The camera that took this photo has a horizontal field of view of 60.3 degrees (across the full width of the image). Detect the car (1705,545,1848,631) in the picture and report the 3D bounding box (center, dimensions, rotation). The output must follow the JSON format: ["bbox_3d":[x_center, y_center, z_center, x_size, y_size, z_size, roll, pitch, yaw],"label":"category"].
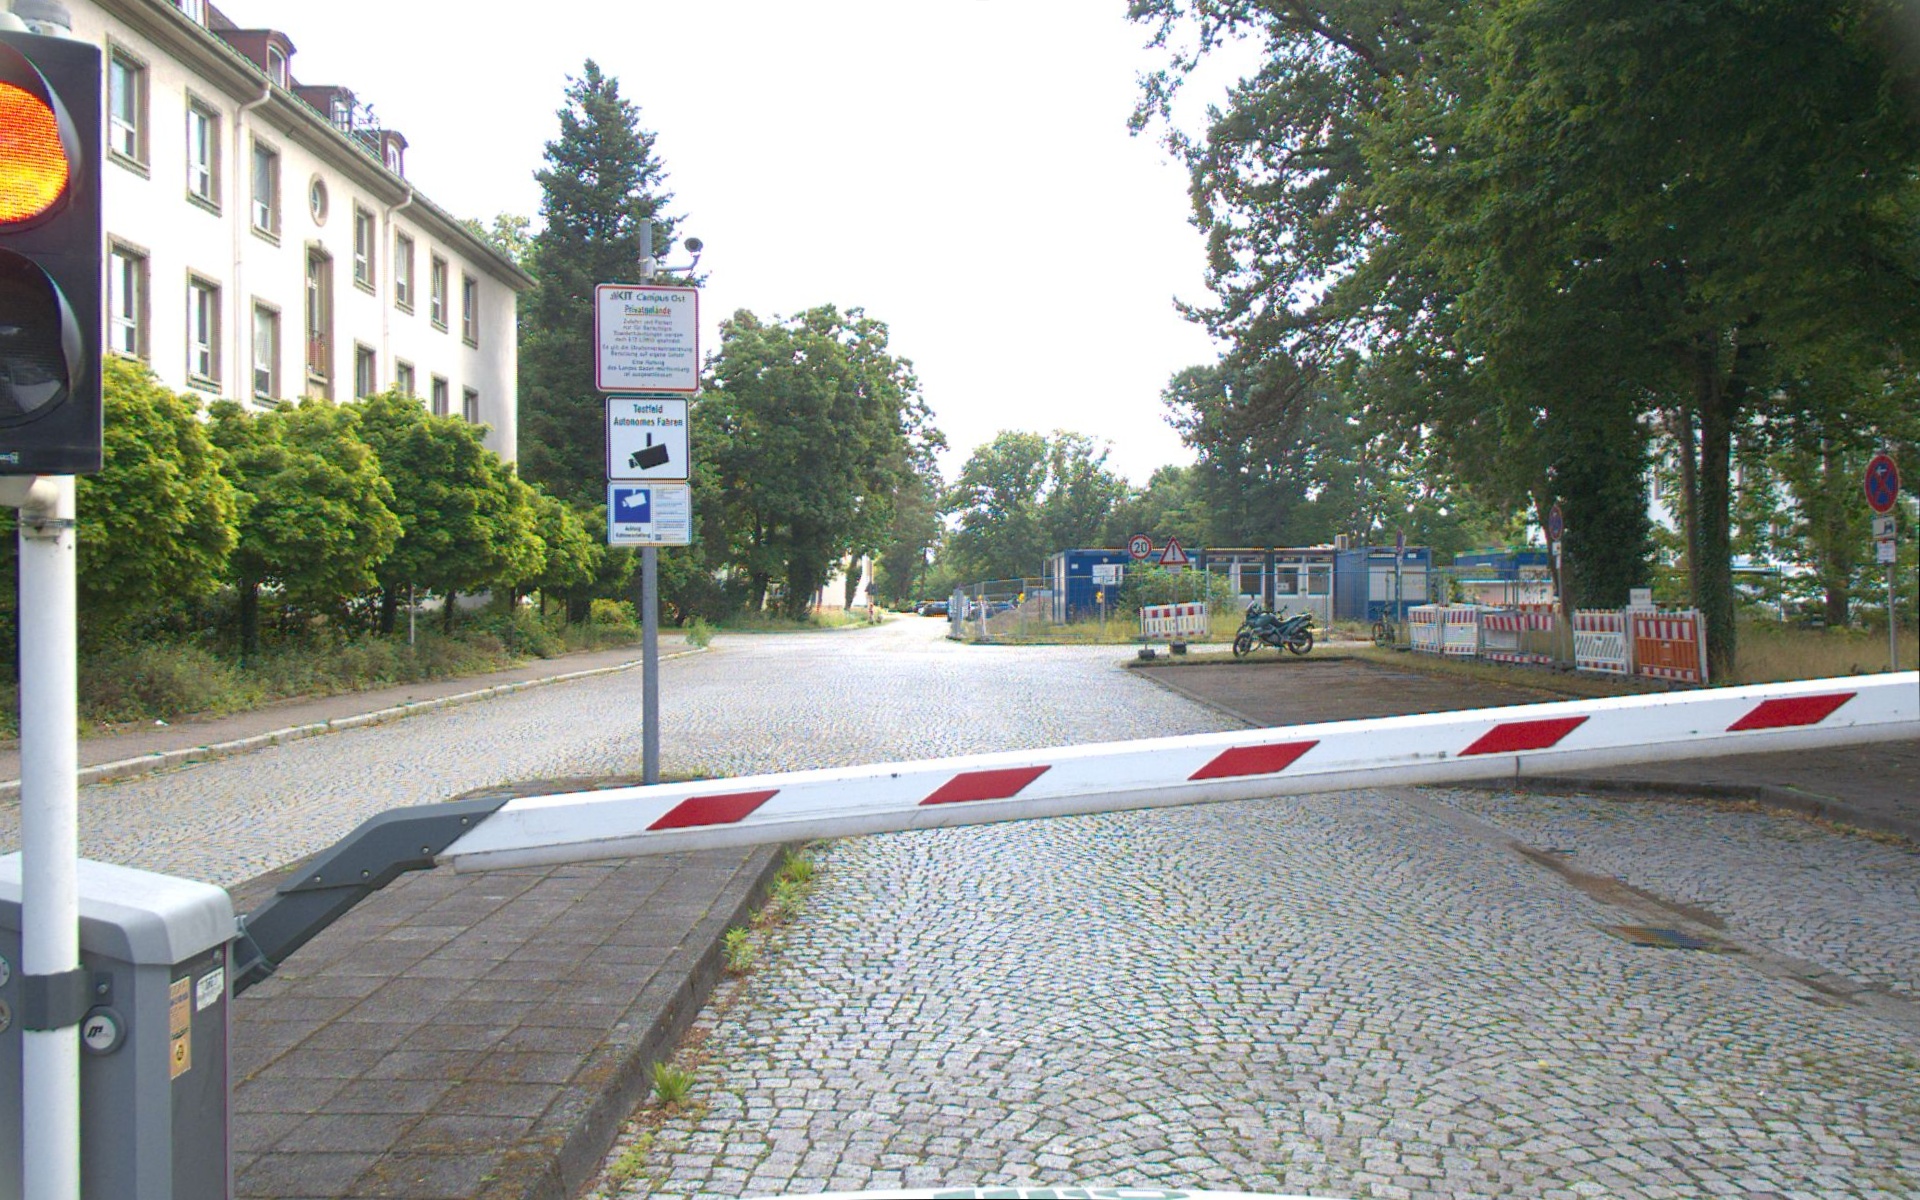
[{"bbox_3d":[24.840,-0.320,50.576,1.952,2.466,5.358,0,-1,3],"label":"car"}]

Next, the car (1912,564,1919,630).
[{"bbox_3d":[26.350,-0.112,40.667,1.971,1.679,4.795,0,-1,-28],"label":"car"}]

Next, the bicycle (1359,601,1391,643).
[{"bbox_3d":[10.489,0.570,41.803,0.325,1.025,1.725,-1,-2,-1],"label":"bicycle"}]

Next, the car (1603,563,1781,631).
[{"bbox_3d":[20.562,-0.061,46.580,4.132,1.852,2.000,0,-1,2],"label":"car"}]

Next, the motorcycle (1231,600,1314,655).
[{"bbox_3d":[7.601,0.664,40.219,1.917,1.215,0.461,-2,5,-2],"label":"motorcycle"}]
